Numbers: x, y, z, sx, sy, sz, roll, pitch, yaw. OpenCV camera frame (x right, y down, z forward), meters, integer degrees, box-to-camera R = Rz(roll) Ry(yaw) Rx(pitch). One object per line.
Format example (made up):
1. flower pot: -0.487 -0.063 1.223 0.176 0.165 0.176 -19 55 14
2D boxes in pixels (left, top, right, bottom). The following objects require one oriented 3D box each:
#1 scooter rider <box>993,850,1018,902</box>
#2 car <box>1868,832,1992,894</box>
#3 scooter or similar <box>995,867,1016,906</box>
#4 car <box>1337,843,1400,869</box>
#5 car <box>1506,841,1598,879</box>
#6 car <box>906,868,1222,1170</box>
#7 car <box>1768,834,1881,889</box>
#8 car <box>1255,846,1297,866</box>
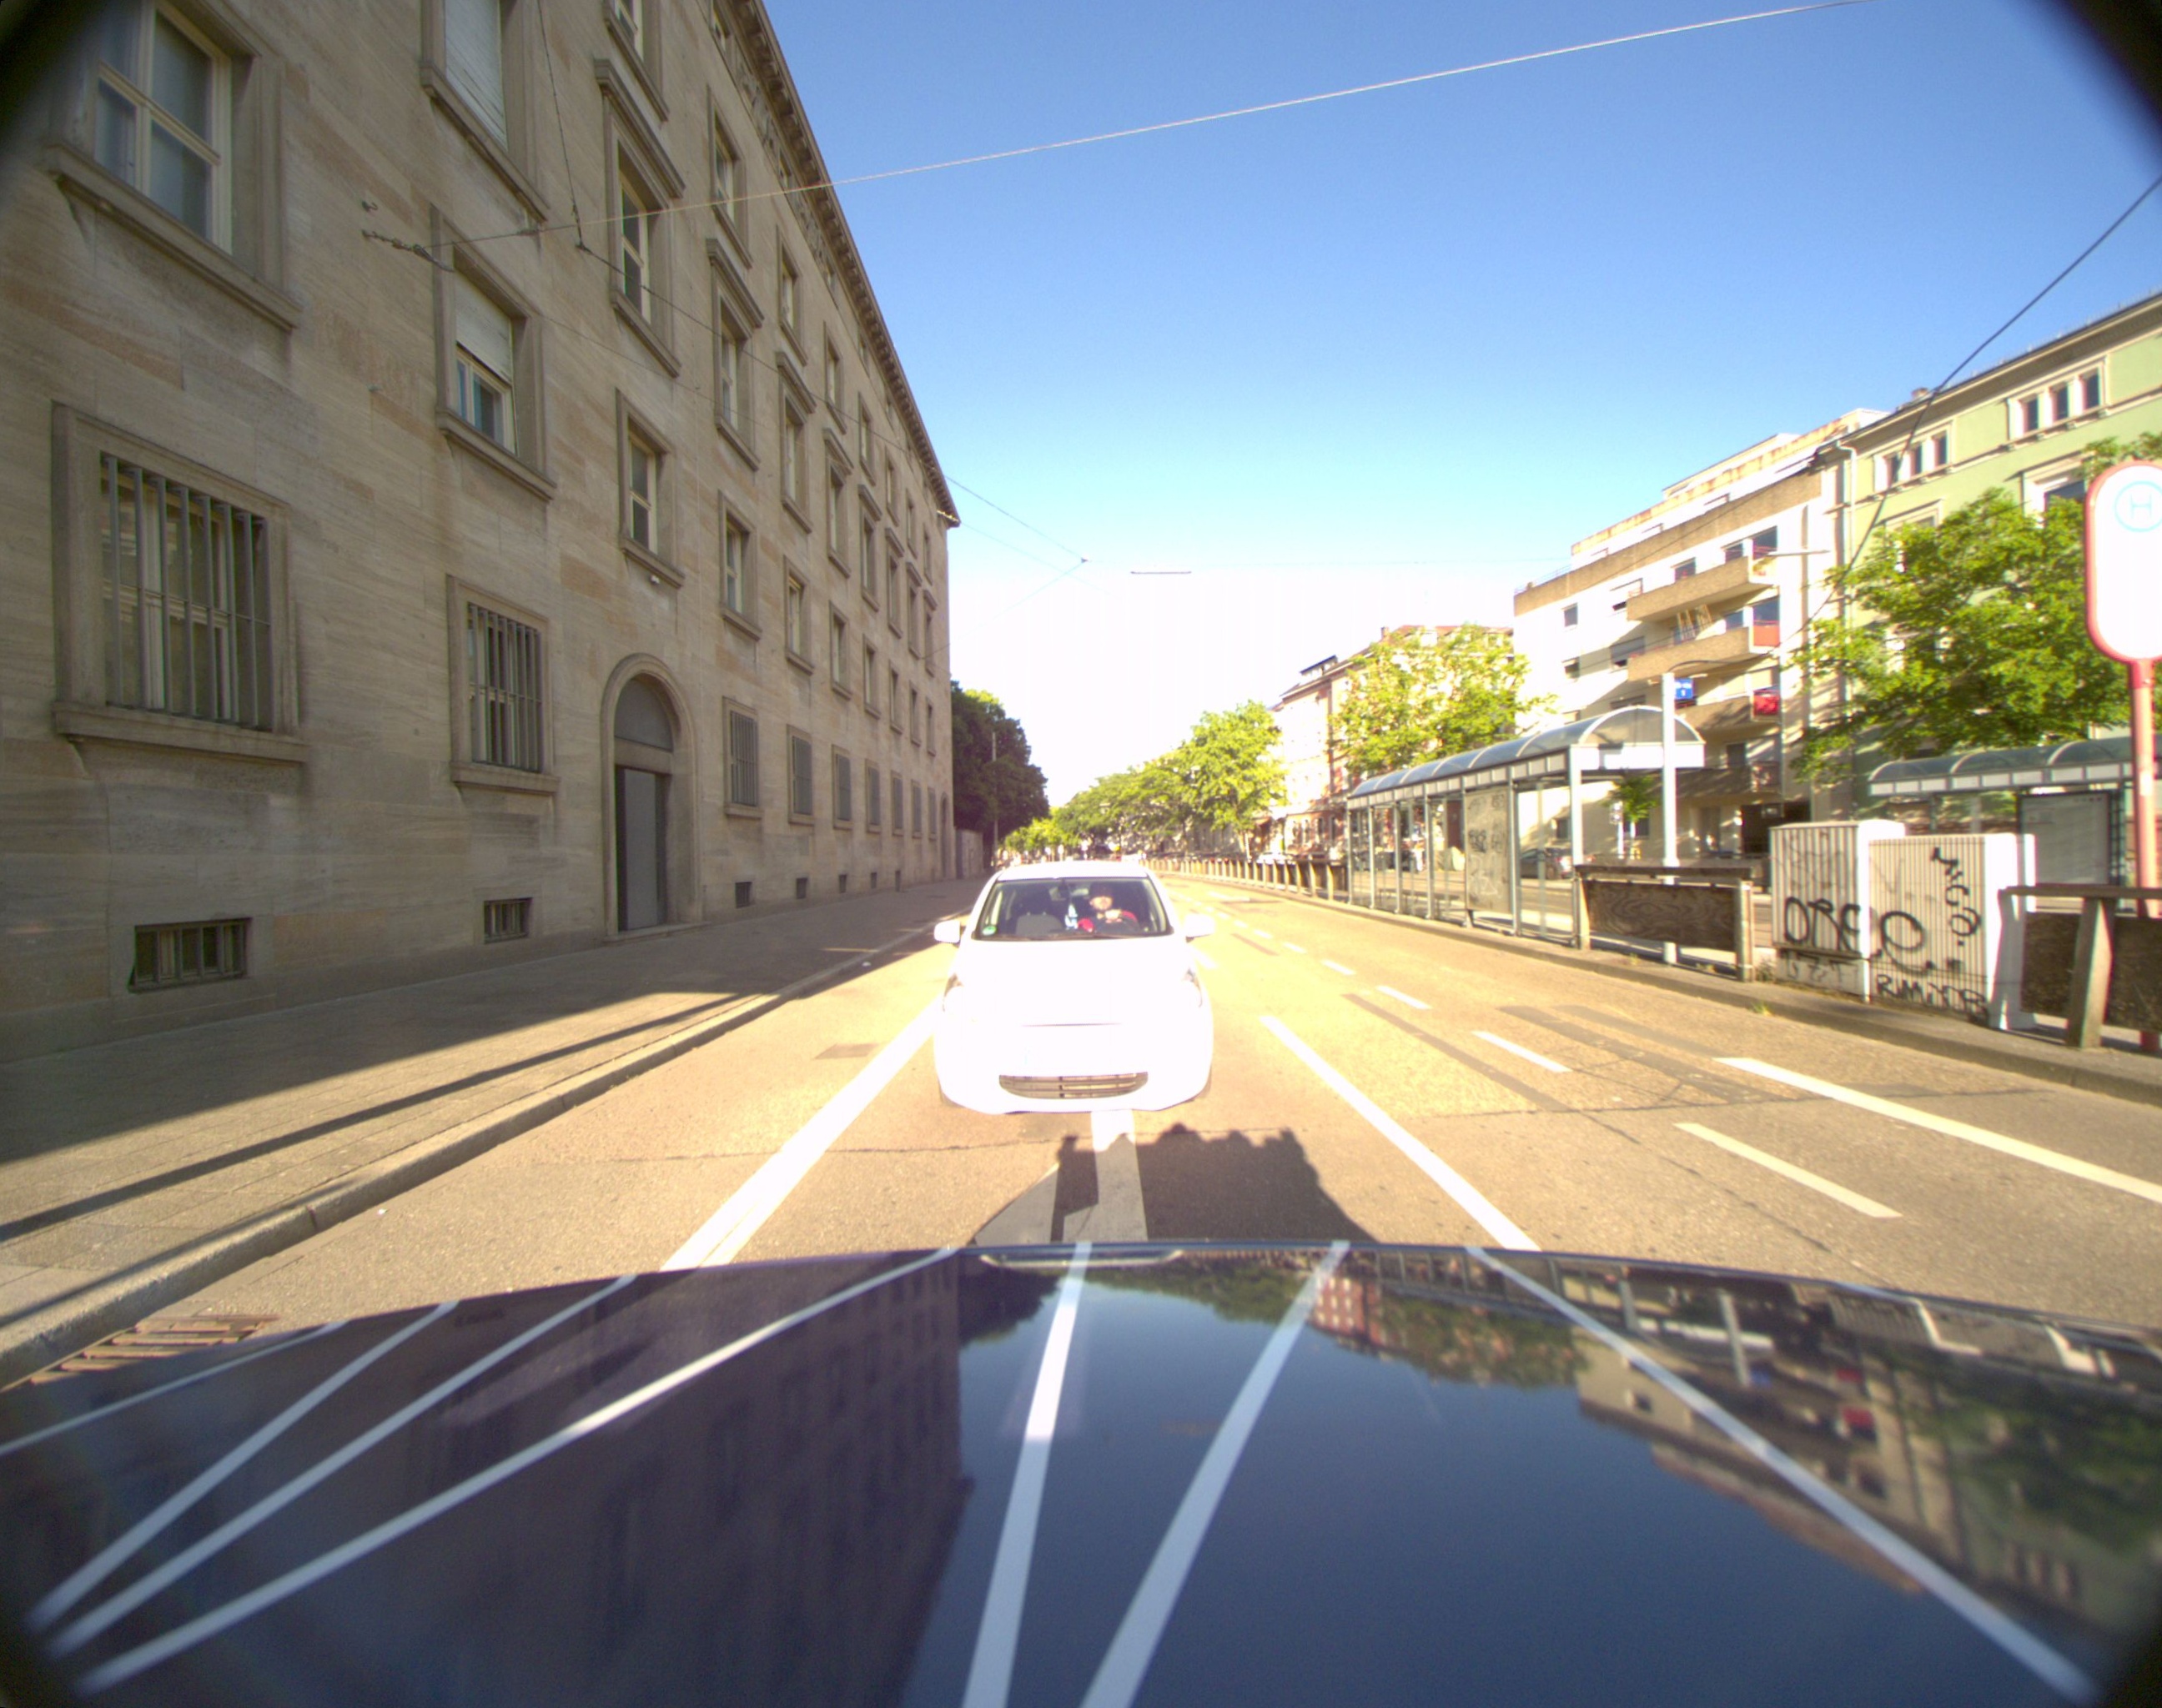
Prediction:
1. scooter rider: -2.459 0.719 24.668 0.731 1.661 0.556 -1 1 -1
2. car: 24.473 0.228 21.891 3.605 1.558 1.627 -3 1 -29
3. scooter or similar: -2.448 1.044 24.714 0.536 1.178 1.328 -1 0 0
4. car: 19.557 0.121 51.724 3.599 1.558 1.630 -2 1 -7
5. car: 20.926 0.229 33.934 1.631 1.558 3.598 -2 1 -5
6. car: -0.065 0.906 5.812 1.612 1.462 3.631 -2 0 1
7. car: 23.894 0.222 24.404 3.605 1.558 1.627 -3 1 -29
8. car: 16.272 0.152 63.479 3.607 1.558 1.627 -3 1 -42
